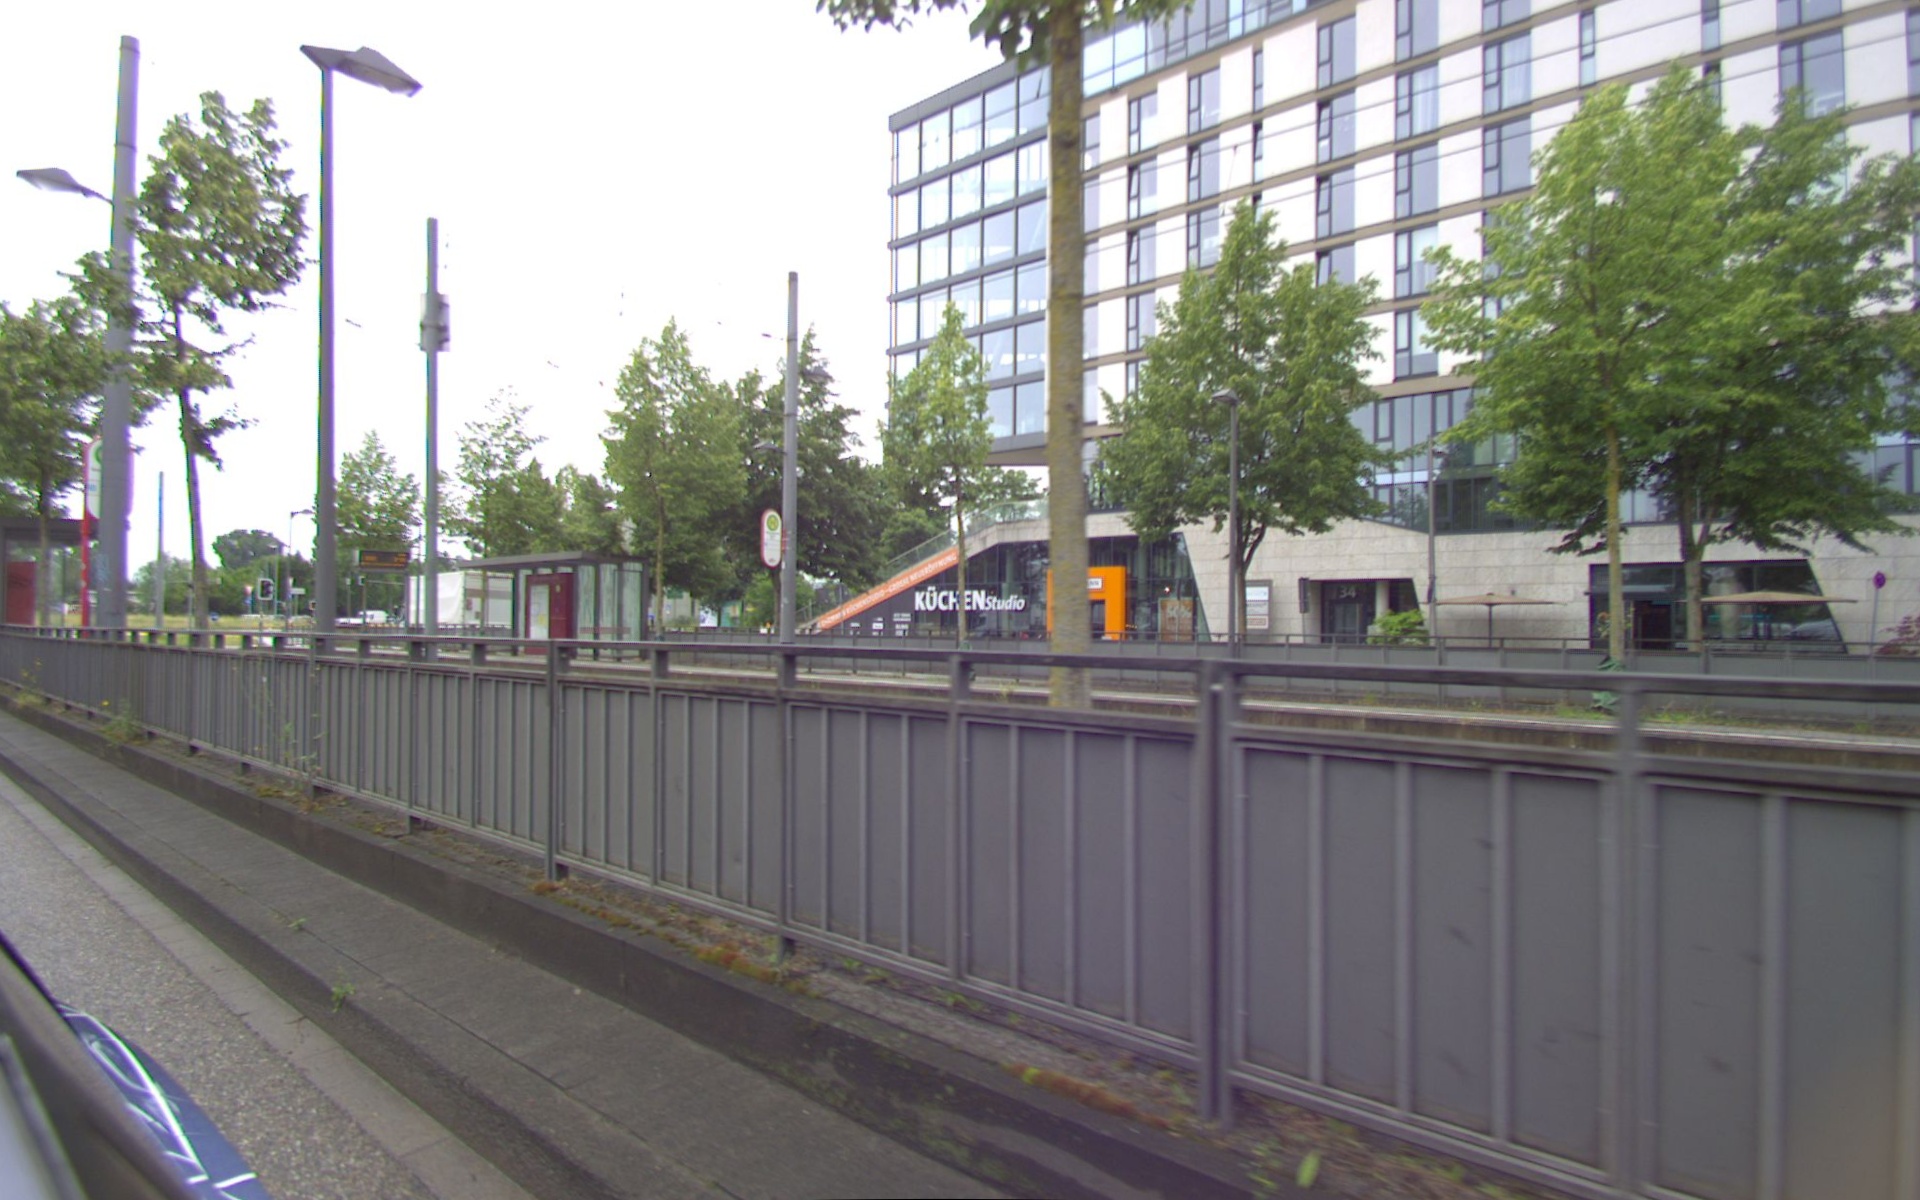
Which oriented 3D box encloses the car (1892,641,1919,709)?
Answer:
[{"bbox_3d":[20.531,1.495,19.384,3.858,1.298,1.973,0,-1,41],"label":"car"}]
